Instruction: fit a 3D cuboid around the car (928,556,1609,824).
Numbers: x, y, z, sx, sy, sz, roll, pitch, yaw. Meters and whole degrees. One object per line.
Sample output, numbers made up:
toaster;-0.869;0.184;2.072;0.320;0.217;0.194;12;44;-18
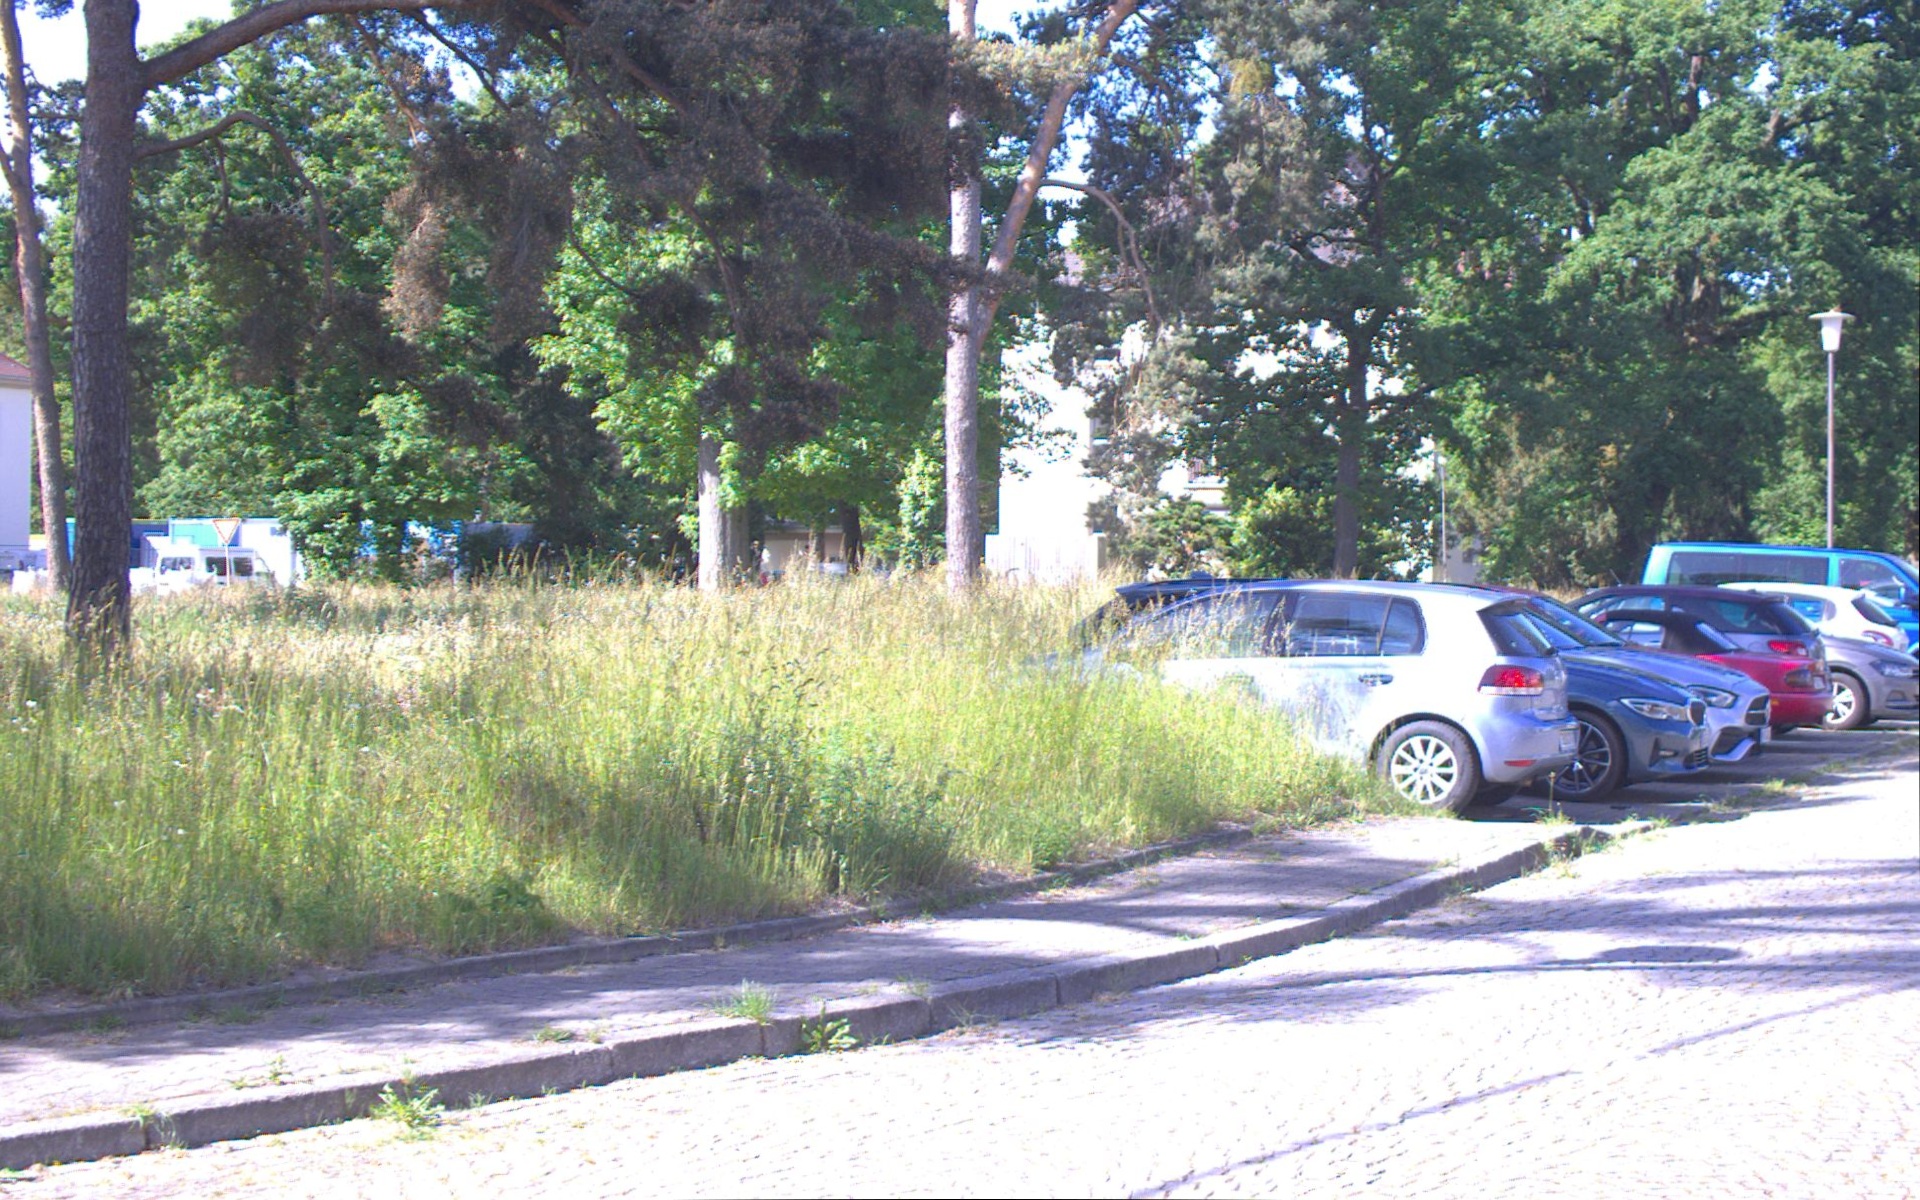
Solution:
car;2.037;0.528;22.503;4.031;1.478;1.947;2;2;21

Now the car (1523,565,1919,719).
car;8.280;0.413;36.728;4.082;1.420;1.920;2;1;24

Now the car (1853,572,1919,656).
car;18.305;0.288;62.246;3.927;1.456;1.840;2;2;21

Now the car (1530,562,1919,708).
car;8.864;0.372;39.603;4.201;1.470;1.822;2;1;22

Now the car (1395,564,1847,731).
car;6.601;0.451;34.304;4.082;1.447;1.819;2;0;24

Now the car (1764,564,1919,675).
car;14.494;0.318;52.656;3.958;1.562;1.972;3;2;21

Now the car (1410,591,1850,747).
car;6.160;0.607;31.600;3.635;1.230;1.757;2;0;24

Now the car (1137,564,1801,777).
car;4.061;0.521;27.438;4.871;1.416;1.936;2;0;23

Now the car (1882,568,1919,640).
car;20.867;0.115;69.708;3.928;1.428;1.840;2;1;24

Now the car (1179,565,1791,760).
car;4.538;0.495;29.774;4.871;1.416;1.936;2;1;23

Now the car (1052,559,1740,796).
car;3.169;0.515;24.867;4.585;1.447;1.982;2;1;19

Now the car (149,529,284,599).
car;-26.169;-1.262;121.203;1.986;2.428;5.270;1;0;23

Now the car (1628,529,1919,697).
car;11.206;0.166;44.330;4.723;1.961;2.003;3;1;22
